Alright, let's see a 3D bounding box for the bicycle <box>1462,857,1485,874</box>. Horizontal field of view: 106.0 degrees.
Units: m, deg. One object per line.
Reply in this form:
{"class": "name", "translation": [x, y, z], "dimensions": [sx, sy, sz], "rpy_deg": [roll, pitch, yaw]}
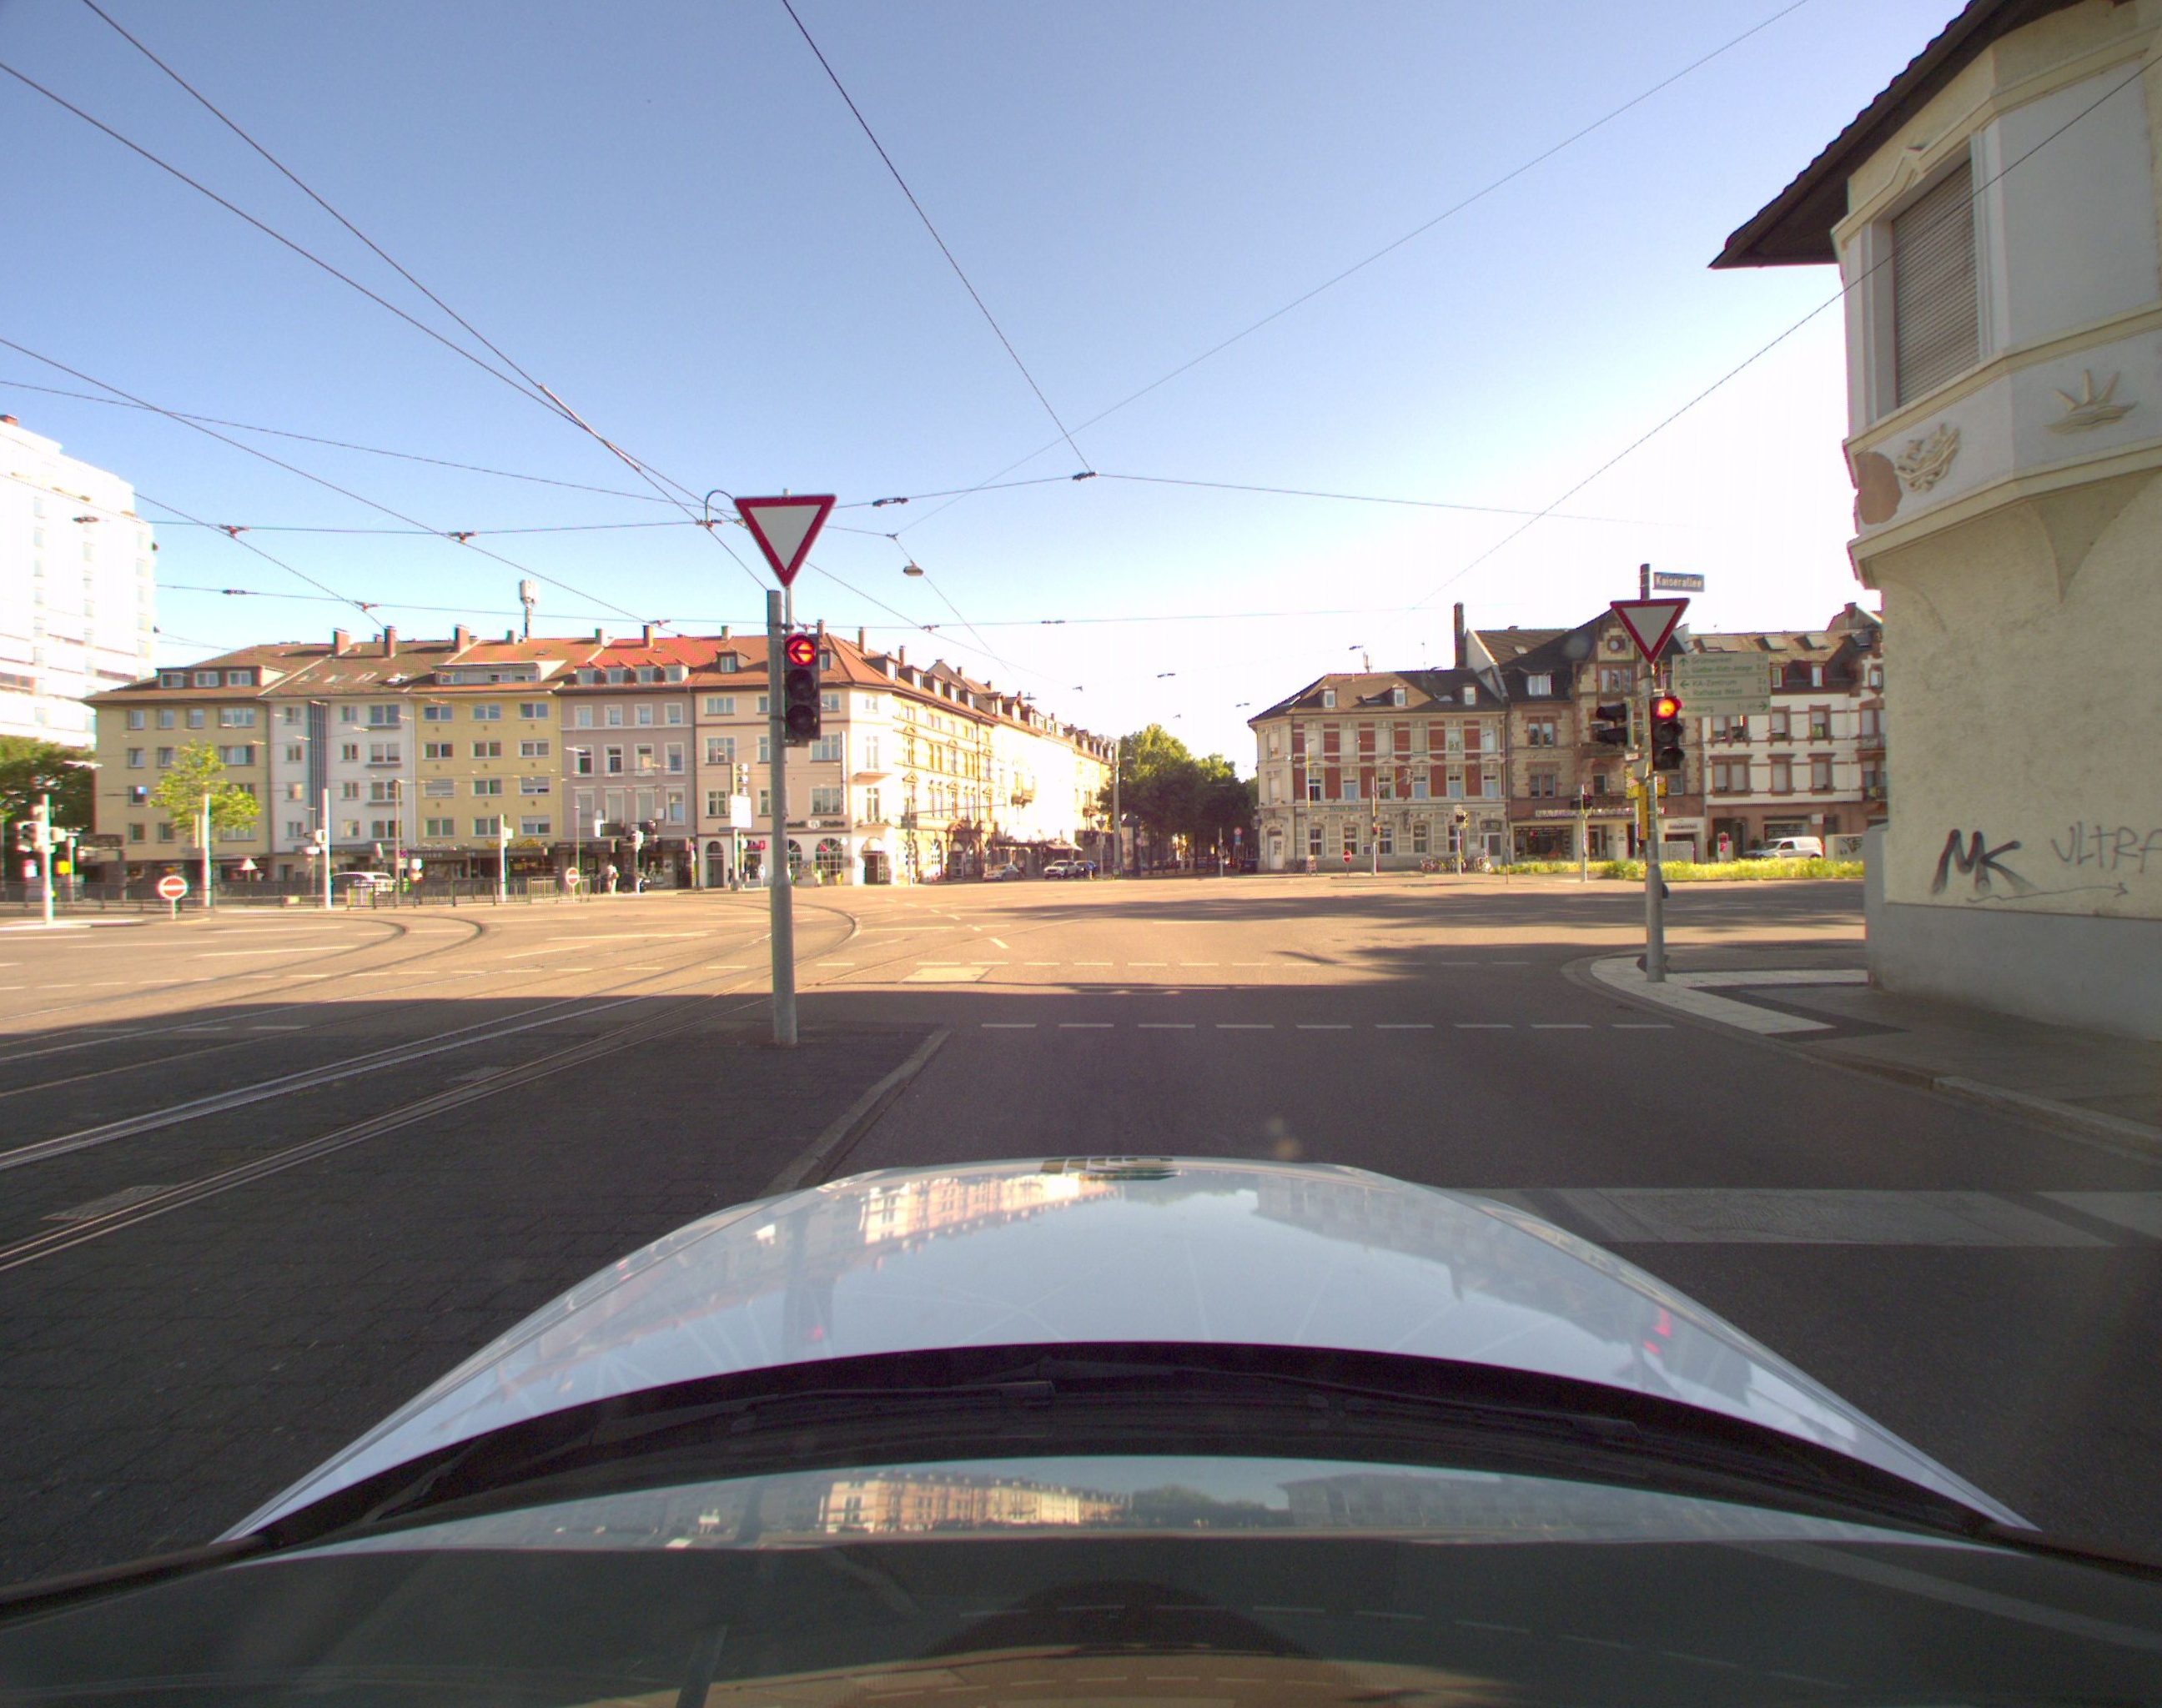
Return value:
{"class": "bicycle", "translation": [25.319, 0.713, 52.617], "dimensions": [0.603, 1.051, 1.641], "rpy_deg": [-1, 0, -3]}

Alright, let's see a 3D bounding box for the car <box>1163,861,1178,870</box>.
{"class": "car", "translation": [14.445, 1.815, 131.454], "dimensions": [1.728, 1.397, 4.141], "rpy_deg": [1, 0, 16]}

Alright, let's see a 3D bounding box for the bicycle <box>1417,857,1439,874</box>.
{"class": "bicycle", "translation": [22.500, 0.736, 52.837], "dimensions": [0.603, 1.051, 1.641], "rpy_deg": [-1, 0, -3]}

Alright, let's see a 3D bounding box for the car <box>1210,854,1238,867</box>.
{"class": "car", "translation": [23.376, 1.090, 133.069], "dimensions": [4.074, 1.919, 1.756], "rpy_deg": [1, 0, 23]}

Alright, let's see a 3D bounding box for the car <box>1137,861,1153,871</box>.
{"class": "car", "translation": [9.180, 1.690, 115.770], "dimensions": [1.729, 1.397, 4.137], "rpy_deg": [1, 0, 12]}

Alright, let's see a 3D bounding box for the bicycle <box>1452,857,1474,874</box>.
{"class": "bicycle", "translation": [24.643, 0.718, 52.567], "dimensions": [0.603, 1.051, 1.641], "rpy_deg": [-1, 0, -3]}

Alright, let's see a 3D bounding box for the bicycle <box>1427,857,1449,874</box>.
{"class": "bicycle", "translation": [23.153, 0.731, 52.867], "dimensions": [0.603, 1.051, 1.641], "rpy_deg": [-1, 0, -3]}

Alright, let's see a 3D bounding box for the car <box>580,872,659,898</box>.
{"class": "car", "translation": [-30.270, 1.995, 53.529], "dimensions": [3.978, 1.464, 1.998], "rpy_deg": [-2, 0, -4]}

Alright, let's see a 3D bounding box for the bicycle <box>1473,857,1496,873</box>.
{"class": "bicycle", "translation": [26.057, 0.708, 52.609], "dimensions": [0.603, 1.051, 1.641], "rpy_deg": [-1, 0, -3]}

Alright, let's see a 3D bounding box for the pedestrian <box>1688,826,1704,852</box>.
{"class": "pedestrian", "translation": [41.925, -1.018, 55.530], "dimensions": [0.705, 1.751, 0.421], "rpy_deg": [-1, 0, 3]}

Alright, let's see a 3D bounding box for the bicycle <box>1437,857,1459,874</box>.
{"class": "bicycle", "translation": [23.817, 0.727, 52.867], "dimensions": [0.603, 1.051, 1.641], "rpy_deg": [-1, 0, -3]}

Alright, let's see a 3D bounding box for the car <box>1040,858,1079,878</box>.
{"class": "car", "translation": [-1.726, 1.163, 67.366], "dimensions": [2.080, 1.499, 4.017], "rpy_deg": [-2, 0, 16]}

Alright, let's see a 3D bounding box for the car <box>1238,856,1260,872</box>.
{"class": "car", "translation": [16.909, 0.991, 82.049], "dimensions": [1.637, 1.524, 3.772], "rpy_deg": [-2, -1, 20]}

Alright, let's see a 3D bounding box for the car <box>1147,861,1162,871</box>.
{"class": "car", "translation": [11.067, 1.733, 122.706], "dimensions": [1.729, 1.397, 4.137], "rpy_deg": [1, 0, 12]}

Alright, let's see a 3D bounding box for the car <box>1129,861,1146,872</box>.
{"class": "car", "translation": [7.606, 1.654, 109.999], "dimensions": [1.729, 1.397, 4.137], "rpy_deg": [1, 0, 12]}

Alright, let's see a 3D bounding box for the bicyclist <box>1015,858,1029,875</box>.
{"class": "bicyclist", "translation": [-4.762, 0.988, 65.868], "dimensions": [0.787, 1.375, 1.113], "rpy_deg": [-1, 0, 16]}

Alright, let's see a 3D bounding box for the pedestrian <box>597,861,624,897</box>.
{"class": "pedestrian", "translation": [-24.566, 1.312, 42.553], "dimensions": [0.871, 1.818, 0.811], "rpy_deg": [-1, 0, 2]}

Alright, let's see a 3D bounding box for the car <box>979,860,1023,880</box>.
{"class": "car", "translation": [-6.594, 1.305, 67.696], "dimensions": [2.080, 1.545, 4.382], "rpy_deg": [-2, 0, 16]}

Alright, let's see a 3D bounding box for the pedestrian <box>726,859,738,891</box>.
{"class": "pedestrian", "translation": [-22.774, 1.359, 53.119], "dimensions": [0.506, 2.013, 0.505], "rpy_deg": [-1, 0, 5]}

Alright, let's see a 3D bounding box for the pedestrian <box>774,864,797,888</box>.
{"class": "pedestrian", "translation": [-19.860, 1.469, 54.697], "dimensions": [1.060, 1.591, 1.043], "rpy_deg": [-1, 0, 4]}

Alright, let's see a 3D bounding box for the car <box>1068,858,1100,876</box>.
{"class": "car", "translation": [0.295, 1.152, 73.690], "dimensions": [1.979, 1.513, 4.015], "rpy_deg": [-1, 0, 14]}

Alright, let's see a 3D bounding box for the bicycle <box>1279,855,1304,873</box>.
{"class": "bicycle", "translation": [14.700, 0.689, 56.936], "dimensions": [1.625, 1.222, 0.609], "rpy_deg": [-1, 0, 18]}

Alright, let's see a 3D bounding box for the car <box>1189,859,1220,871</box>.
{"class": "car", "translation": [17.490, 1.529, 114.990], "dimensions": [4.078, 1.646, 1.754], "rpy_deg": [1, 0, 17]}

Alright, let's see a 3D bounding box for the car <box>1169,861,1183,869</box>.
{"class": "car", "translation": [15.868, 1.839, 136.201], "dimensions": [1.728, 1.397, 4.141], "rpy_deg": [1, 0, 16]}

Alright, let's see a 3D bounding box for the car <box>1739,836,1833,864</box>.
{"class": "car", "translation": [45.388, -0.238, 52.470], "dimensions": [4.356, 1.654, 1.999], "rpy_deg": [-1, 0, -2]}

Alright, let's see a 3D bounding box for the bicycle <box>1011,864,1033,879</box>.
{"class": "bicycle", "translation": [-4.765, 1.431, 65.896], "dimensions": [0.745, 1.135, 2.821], "rpy_deg": [-1, 0, 16]}
